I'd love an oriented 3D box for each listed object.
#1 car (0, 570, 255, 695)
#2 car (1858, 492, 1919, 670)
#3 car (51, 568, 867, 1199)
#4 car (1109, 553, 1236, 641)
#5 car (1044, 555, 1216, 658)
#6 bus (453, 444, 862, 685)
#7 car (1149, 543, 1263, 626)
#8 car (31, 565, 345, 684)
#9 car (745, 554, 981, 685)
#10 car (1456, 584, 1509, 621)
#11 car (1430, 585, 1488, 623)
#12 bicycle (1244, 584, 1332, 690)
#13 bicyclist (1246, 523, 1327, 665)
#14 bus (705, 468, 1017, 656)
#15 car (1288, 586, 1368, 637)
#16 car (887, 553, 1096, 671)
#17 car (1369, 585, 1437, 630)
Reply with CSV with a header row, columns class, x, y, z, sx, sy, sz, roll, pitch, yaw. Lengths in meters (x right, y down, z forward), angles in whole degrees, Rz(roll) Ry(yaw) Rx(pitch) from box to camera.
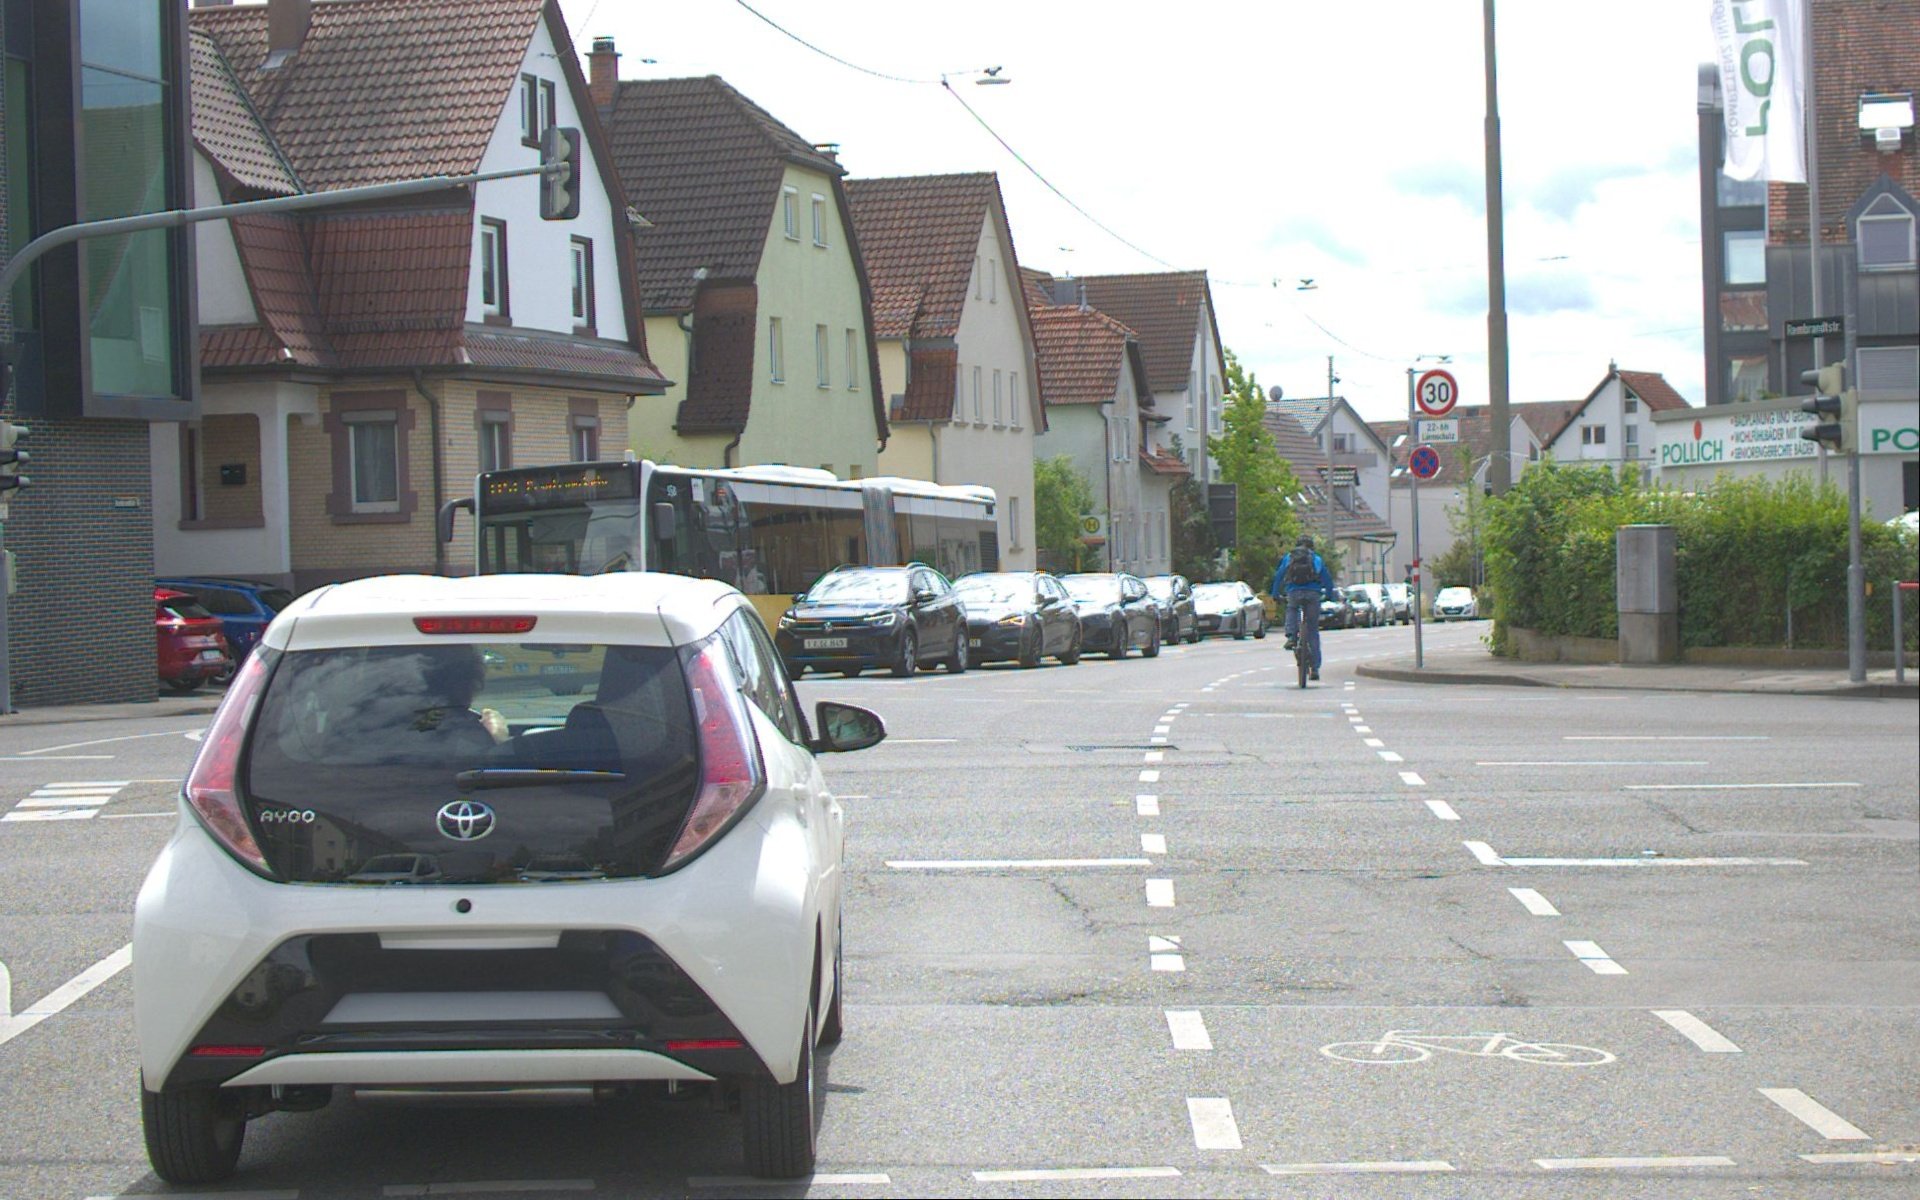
class,x,y,z,sx,sy,sz,roll,pitch,yaw
car,-11.992,0.417,47.396,3.989,1.634,1.999,0,1,13
car,12.692,-0.242,39.744,3.986,2.007,2.001,-1,1,-9
car,-1.184,0.659,9.573,1.738,1.455,3.532,0,1,0
car,5.100,-0.091,81.983,1.995,2.007,3.996,0,1,19
car,2.885,0.076,57.586,1.995,1.634,3.997,0,1,16
bus,-4.010,-0.529,48.329,2.779,3.050,9.185,0,1,15
car,6.174,-0.397,85.813,1.995,2.007,3.997,0,1,17
car,-11.266,0.354,50.277,3.989,1.678,1.999,0,1,13
car,-1.231,0.222,45.662,1.995,1.634,3.997,0,1,16
car,24.741,0.107,162.679,1.995,1.634,3.997,0,1,16
car,22.231,0.163,153.004,1.995,1.634,3.997,0,1,16
bicycle,3.792,0.414,39.888,0.832,1.160,2.192,0,1,1
bicyclist,3.782,-0.077,39.853,0.840,1.609,1.083,0,1,1
bus,-1.476,-0.666,57.764,2.779,2.904,9.185,0,1,15
car,12.540,0.370,116.963,1.995,1.634,3.997,0,1,16
car,0.520,0.138,50.582,1.995,1.634,4.180,0,1,16
car,16.945,0.290,131.414,1.995,1.634,3.997,0,1,16
